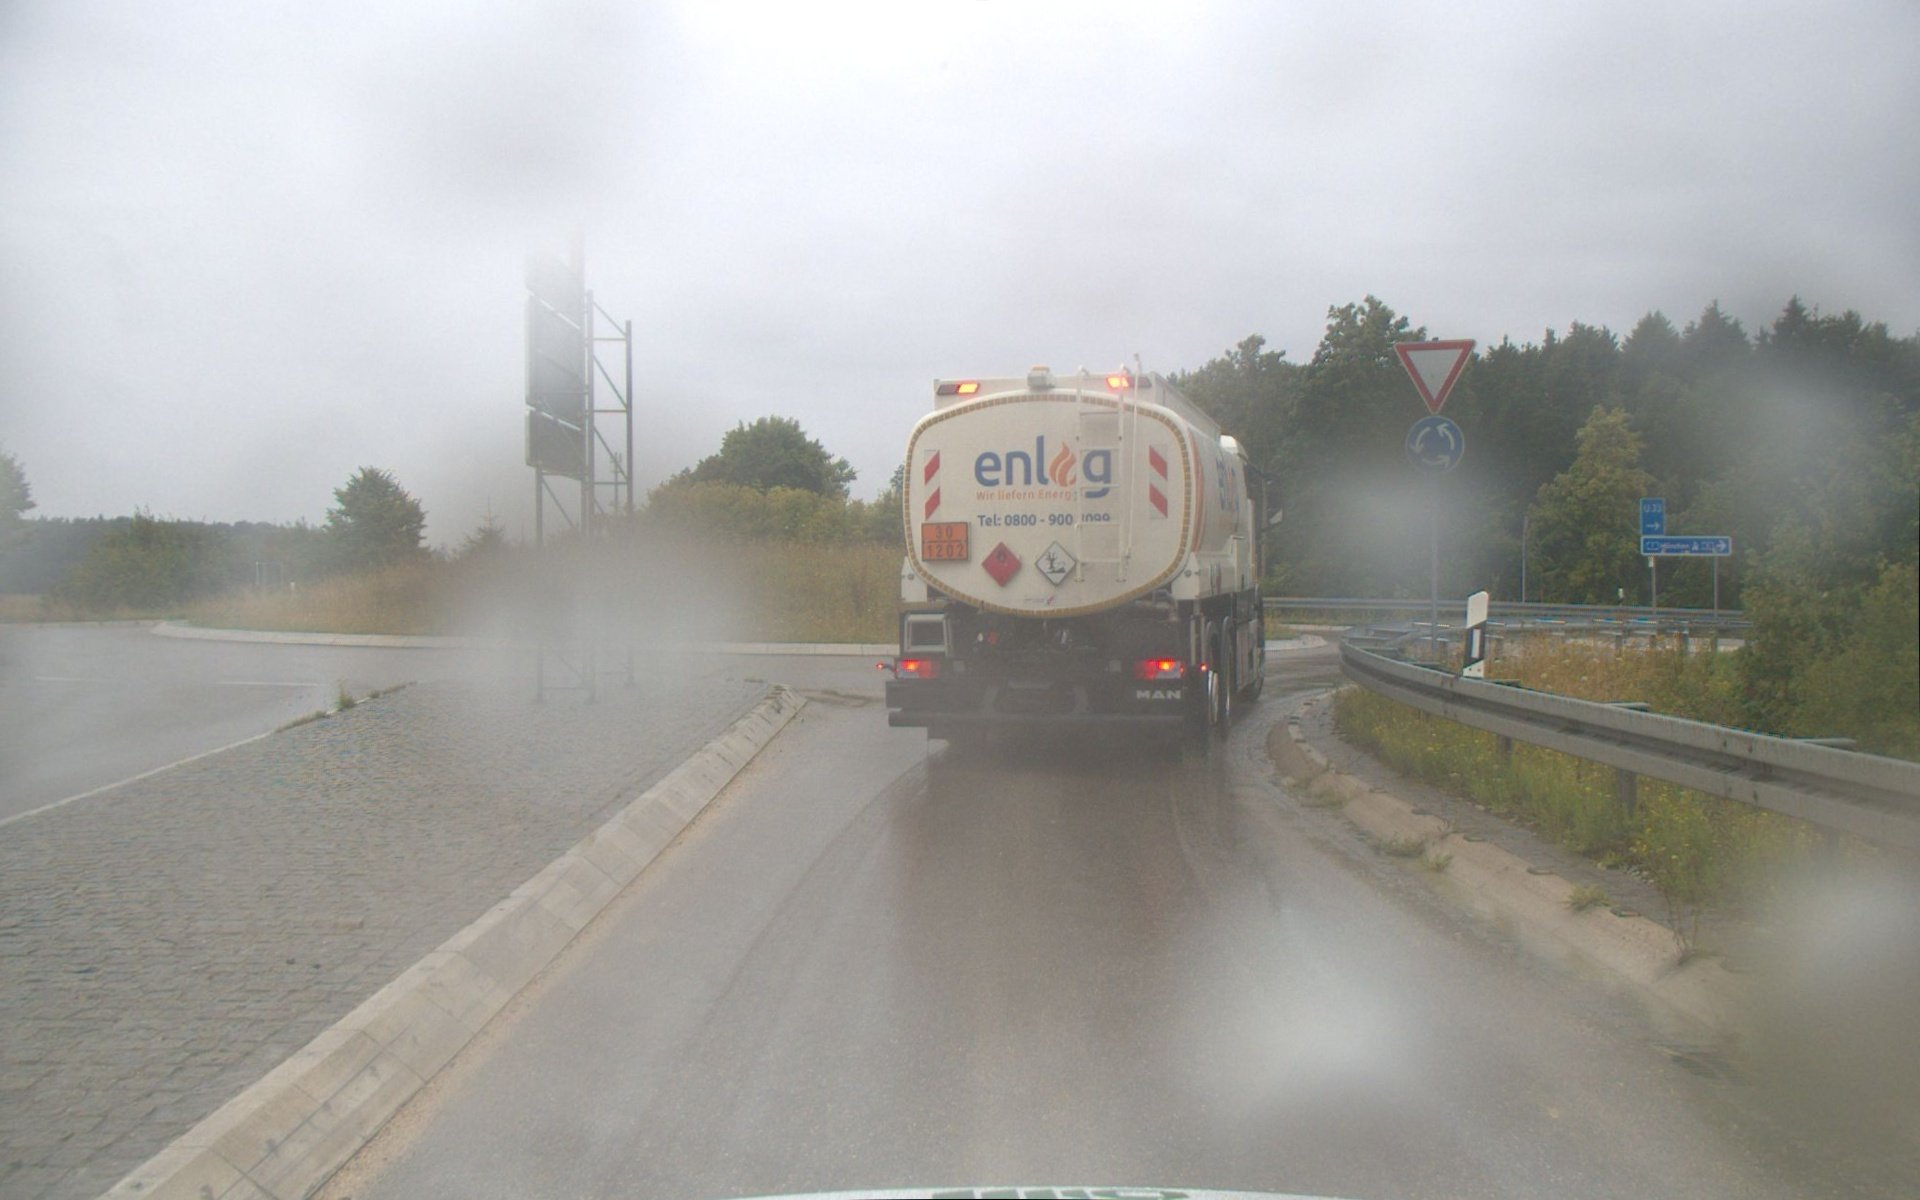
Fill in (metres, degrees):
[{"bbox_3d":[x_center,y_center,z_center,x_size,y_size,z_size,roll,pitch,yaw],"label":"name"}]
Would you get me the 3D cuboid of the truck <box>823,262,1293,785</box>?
[{"bbox_3d":[1.558,-0.616,17.067,2.975,3.919,8.828,1,0,16],"label":"truck"}]
